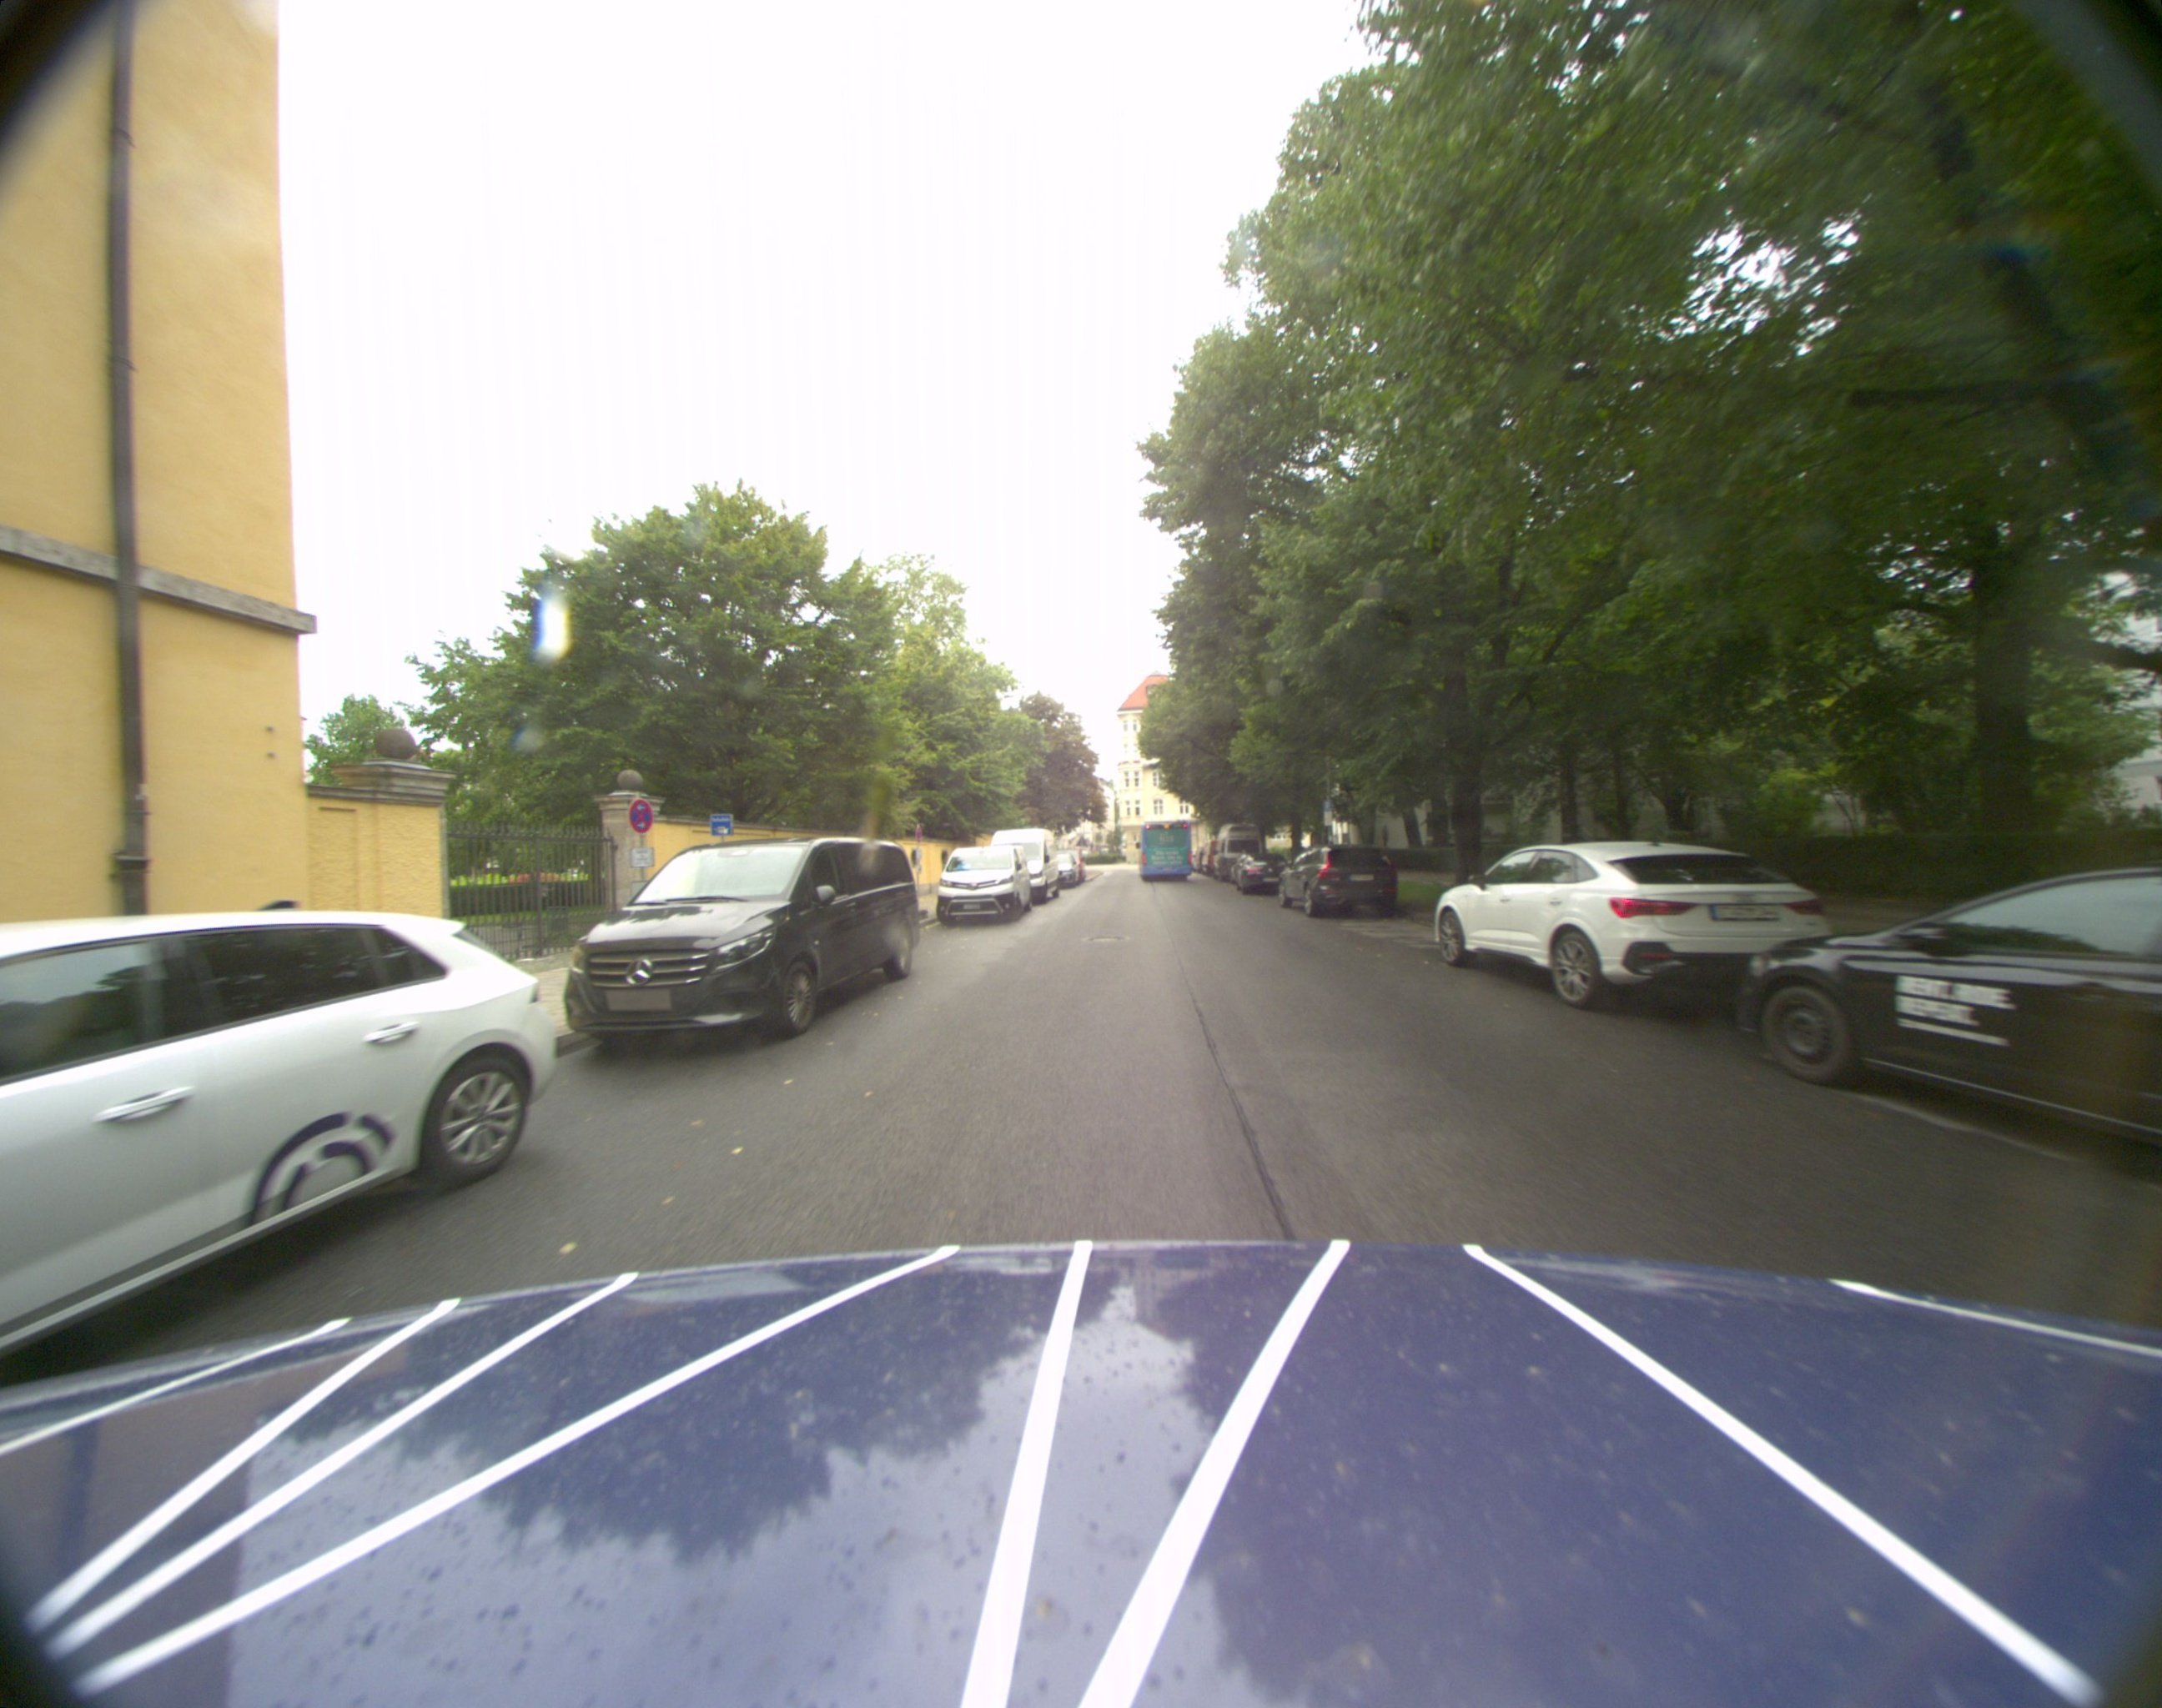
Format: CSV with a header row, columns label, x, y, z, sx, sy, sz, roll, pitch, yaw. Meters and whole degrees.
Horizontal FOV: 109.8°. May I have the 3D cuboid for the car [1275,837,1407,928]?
label,x,y,z,sx,sy,sz,roll,pitch,yaw
car,6.003,0.568,18.151,1.788,1.866,4.548,-1,1,3

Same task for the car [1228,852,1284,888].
label,x,y,z,sx,sy,sz,roll,pitch,yaw
car,7.615,0.647,33.455,1.794,1.429,4.580,-2,0,5

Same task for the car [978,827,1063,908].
label,x,y,z,sx,sy,sz,roll,pitch,yaw
car,-1.967,0.367,26.803,2.100,2.473,5.740,-2,1,3

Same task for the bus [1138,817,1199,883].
label,x,y,z,sx,sy,sz,roll,pitch,yaw
bus,5.146,-0.436,47.662,2.866,3.221,18.426,-2,1,4

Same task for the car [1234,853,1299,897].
label,x,y,z,sx,sy,sz,roll,pitch,yaw
car,6.638,0.700,27.631,1.793,1.429,4.554,-2,0,8

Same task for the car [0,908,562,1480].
label,x,y,z,sx,sy,sz,roll,pitch,yaw
car,-4.047,1.098,2.249,1.875,1.449,4.255,-2,1,3

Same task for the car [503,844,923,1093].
label,x,y,z,sx,sy,sz,roll,pitch,yaw
car,-3.342,0.857,8.312,1.875,1.858,4.987,-2,1,3

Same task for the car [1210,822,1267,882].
label,x,y,z,sx,sy,sz,roll,pitch,yaw
car,8.101,-0.166,39.677,1.949,2.838,6.236,-2,1,3

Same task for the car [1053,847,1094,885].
label,x,y,z,sx,sy,sz,roll,pitch,yaw
car,-0.363,0.622,42.897,1.863,1.956,5.446,-2,0,3

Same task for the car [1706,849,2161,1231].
label,x,y,z,sx,sy,sz,roll,pitch,yaw
car,5.190,0.757,3.328,1.676,1.461,4.104,-2,1,3

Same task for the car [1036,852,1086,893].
label,x,y,z,sx,sy,sz,roll,pitch,yaw
car,-0.887,0.835,36.789,1.863,1.731,4.603,-3,1,4

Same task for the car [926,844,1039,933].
label,x,y,z,sx,sy,sz,roll,pitch,yaw
car,-2.366,0.756,19.688,2.018,1.895,5.163,-3,1,2

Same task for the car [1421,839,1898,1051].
label,x,y,z,sx,sy,sz,roll,pitch,yaw
car,5.476,0.677,8.148,1.788,1.588,4.585,-2,1,3
